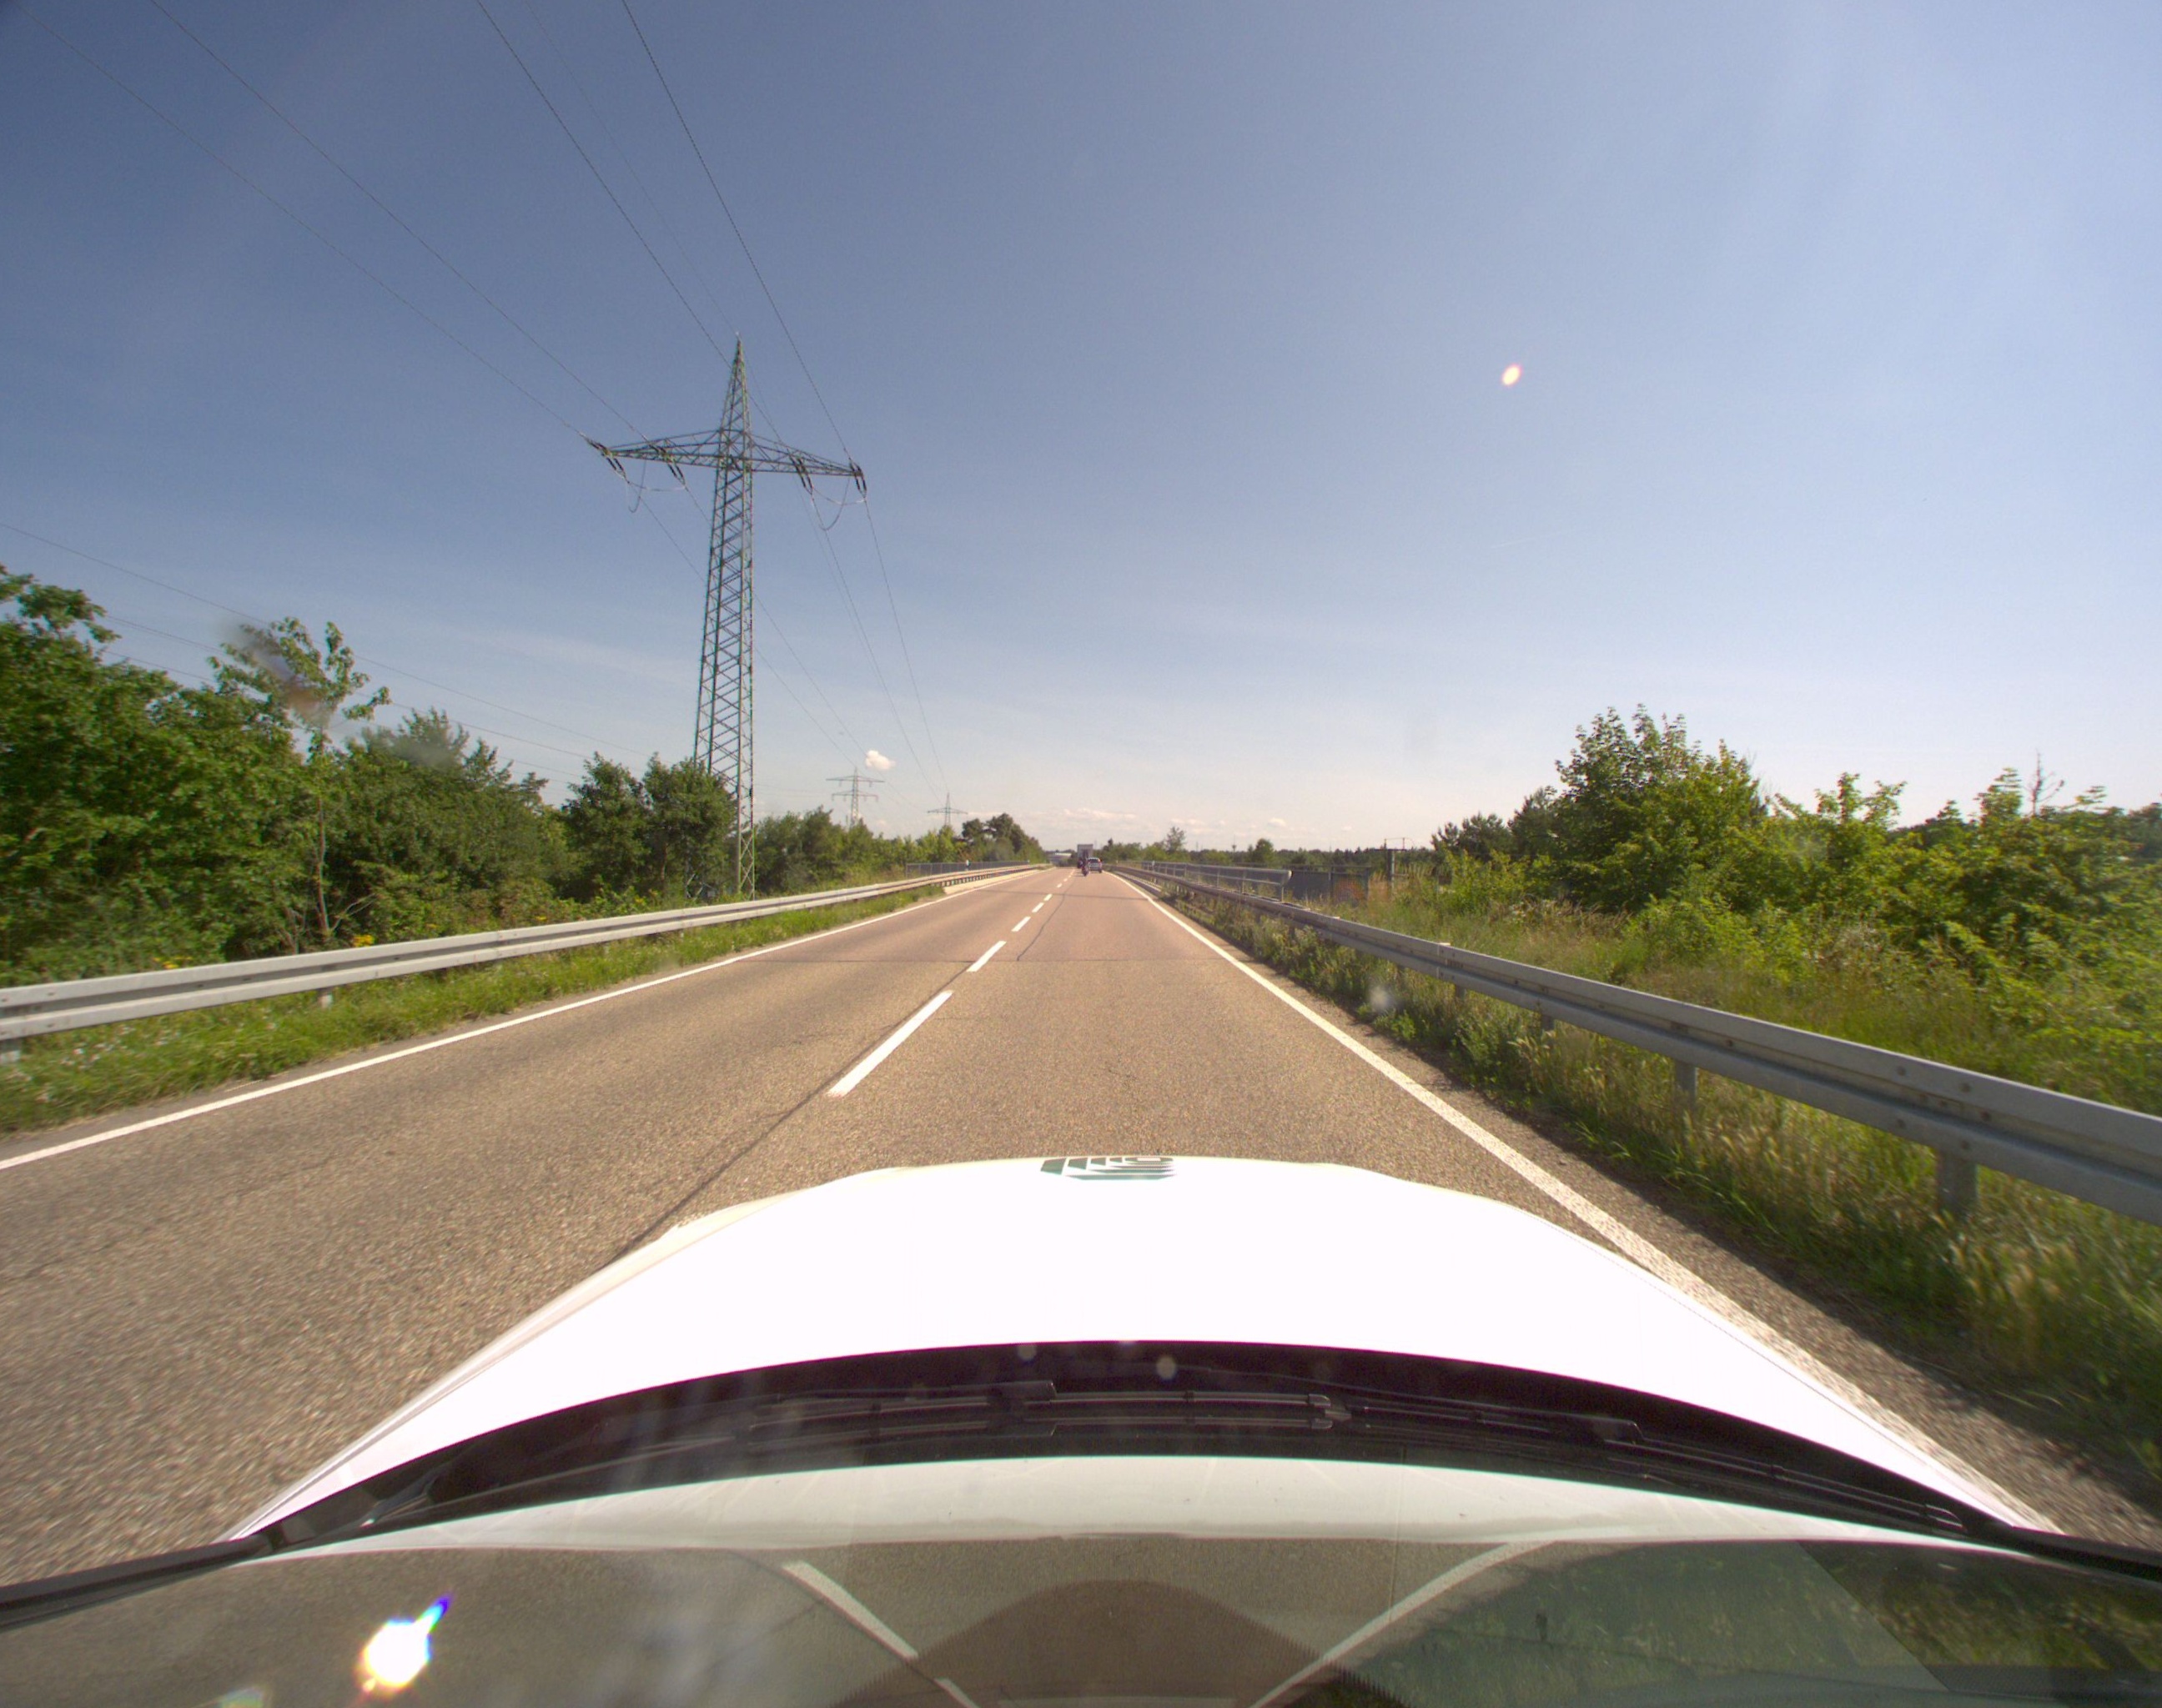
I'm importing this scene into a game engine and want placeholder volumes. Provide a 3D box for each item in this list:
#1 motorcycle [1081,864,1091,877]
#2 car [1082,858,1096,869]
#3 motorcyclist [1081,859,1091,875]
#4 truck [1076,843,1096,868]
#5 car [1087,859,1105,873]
[{"bbox_3d":[0.413,1.361,68.043,0.777,0.975,2.362,0,0,2],"label":"motorcycle"},{"bbox_3d":[1.075,1.321,112.224,1.859,1.420,4.001,1,0,2],"label":"car"},{"bbox_3d":[0.426,1.053,68.063,0.777,1.325,0.813,0,0,2],"label":"motorcyclist"},{"bbox_3d":[0.868,0.276,139.393,3.230,3.979,9.445,0,0,1],"label":"truck"},{"bbox_3d":[1.582,1.234,85.606,1.819,1.451,4.001,0,0,1],"label":"car"}]
